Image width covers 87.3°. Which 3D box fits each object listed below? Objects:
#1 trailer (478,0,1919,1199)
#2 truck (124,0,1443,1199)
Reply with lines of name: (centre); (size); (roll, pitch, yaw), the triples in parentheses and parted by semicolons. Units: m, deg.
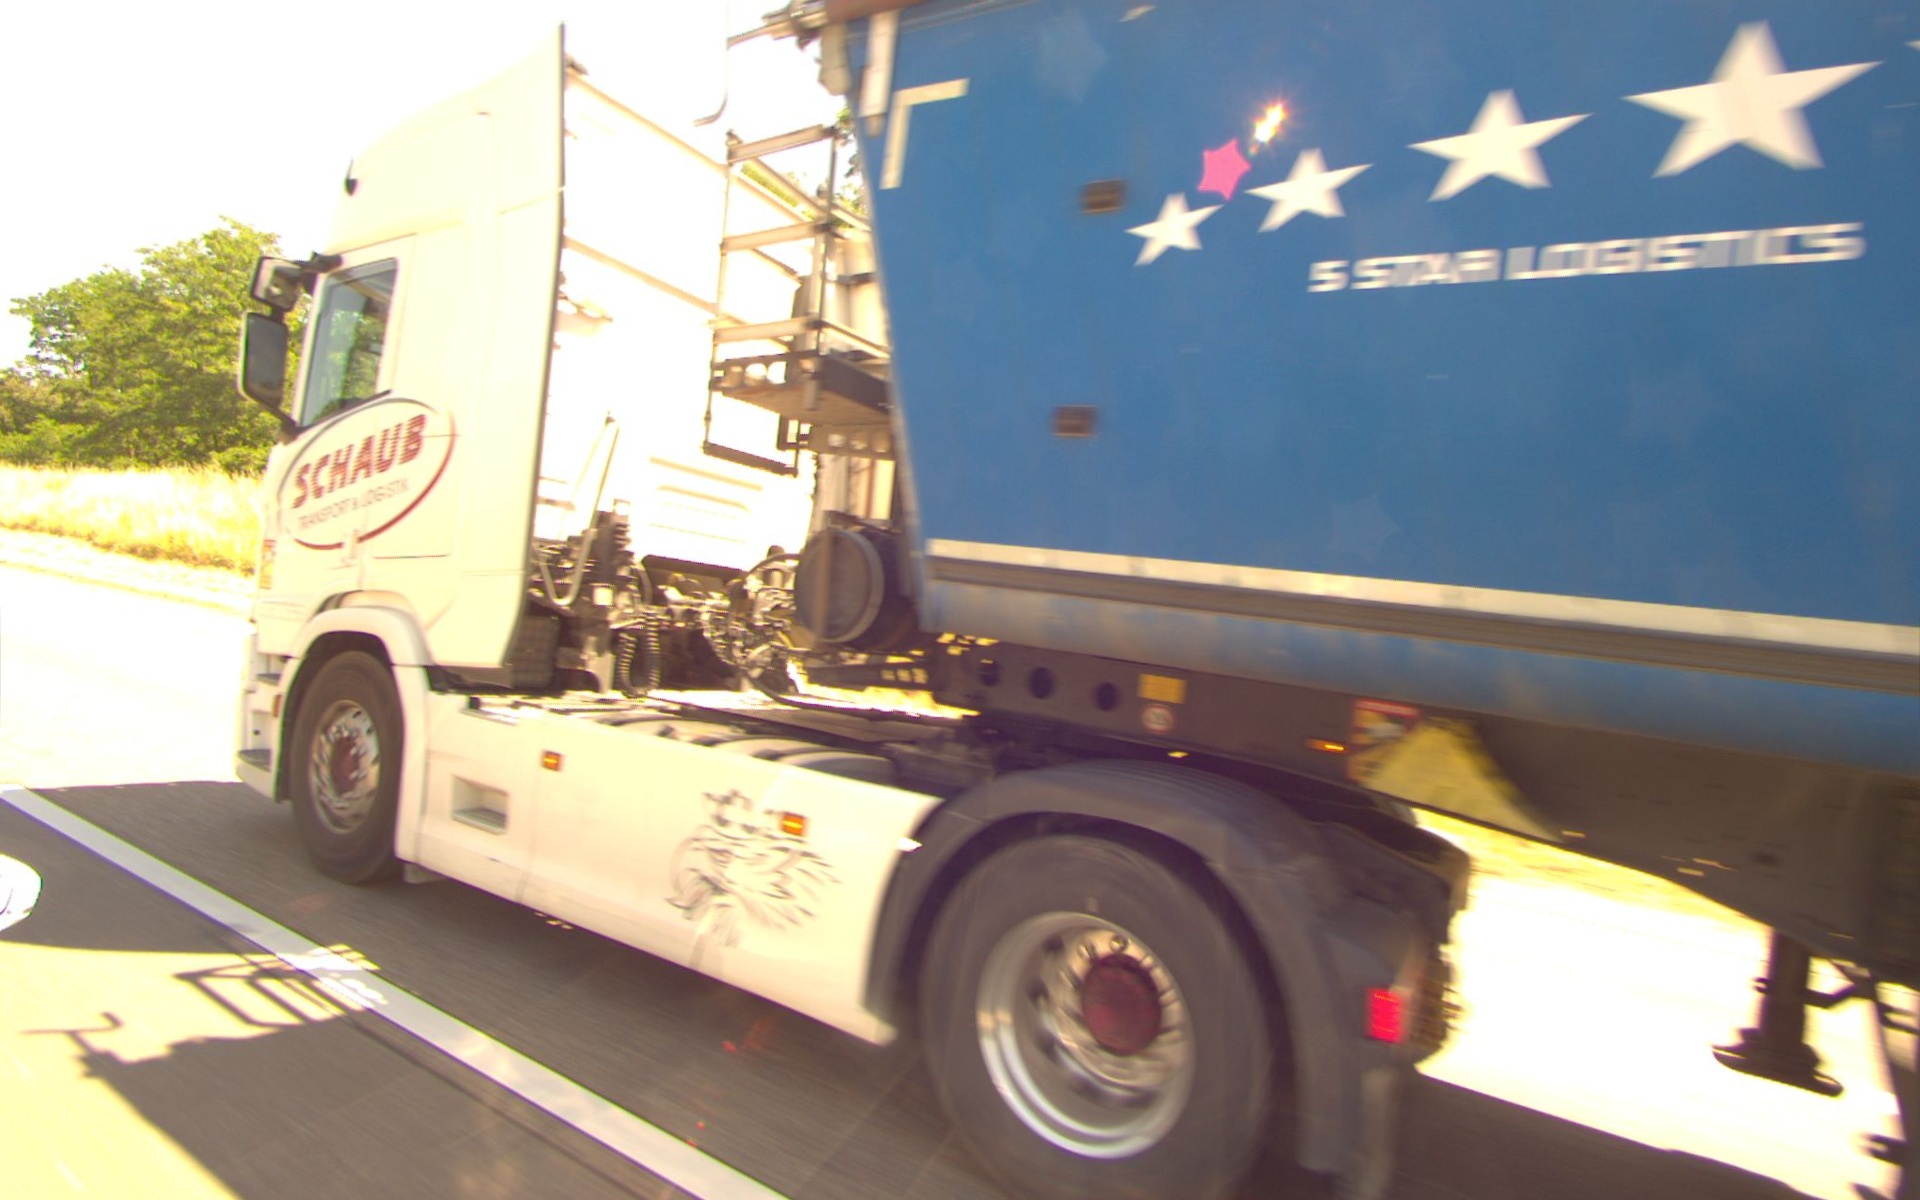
trailer: (2.904, -0.137, 2.509); (8.958, 3.804, 2.740); (7, 0, 32)
truck: (-1.146, -0.595, 5.051); (5.845, 3.804, 2.688); (7, 0, 32)
